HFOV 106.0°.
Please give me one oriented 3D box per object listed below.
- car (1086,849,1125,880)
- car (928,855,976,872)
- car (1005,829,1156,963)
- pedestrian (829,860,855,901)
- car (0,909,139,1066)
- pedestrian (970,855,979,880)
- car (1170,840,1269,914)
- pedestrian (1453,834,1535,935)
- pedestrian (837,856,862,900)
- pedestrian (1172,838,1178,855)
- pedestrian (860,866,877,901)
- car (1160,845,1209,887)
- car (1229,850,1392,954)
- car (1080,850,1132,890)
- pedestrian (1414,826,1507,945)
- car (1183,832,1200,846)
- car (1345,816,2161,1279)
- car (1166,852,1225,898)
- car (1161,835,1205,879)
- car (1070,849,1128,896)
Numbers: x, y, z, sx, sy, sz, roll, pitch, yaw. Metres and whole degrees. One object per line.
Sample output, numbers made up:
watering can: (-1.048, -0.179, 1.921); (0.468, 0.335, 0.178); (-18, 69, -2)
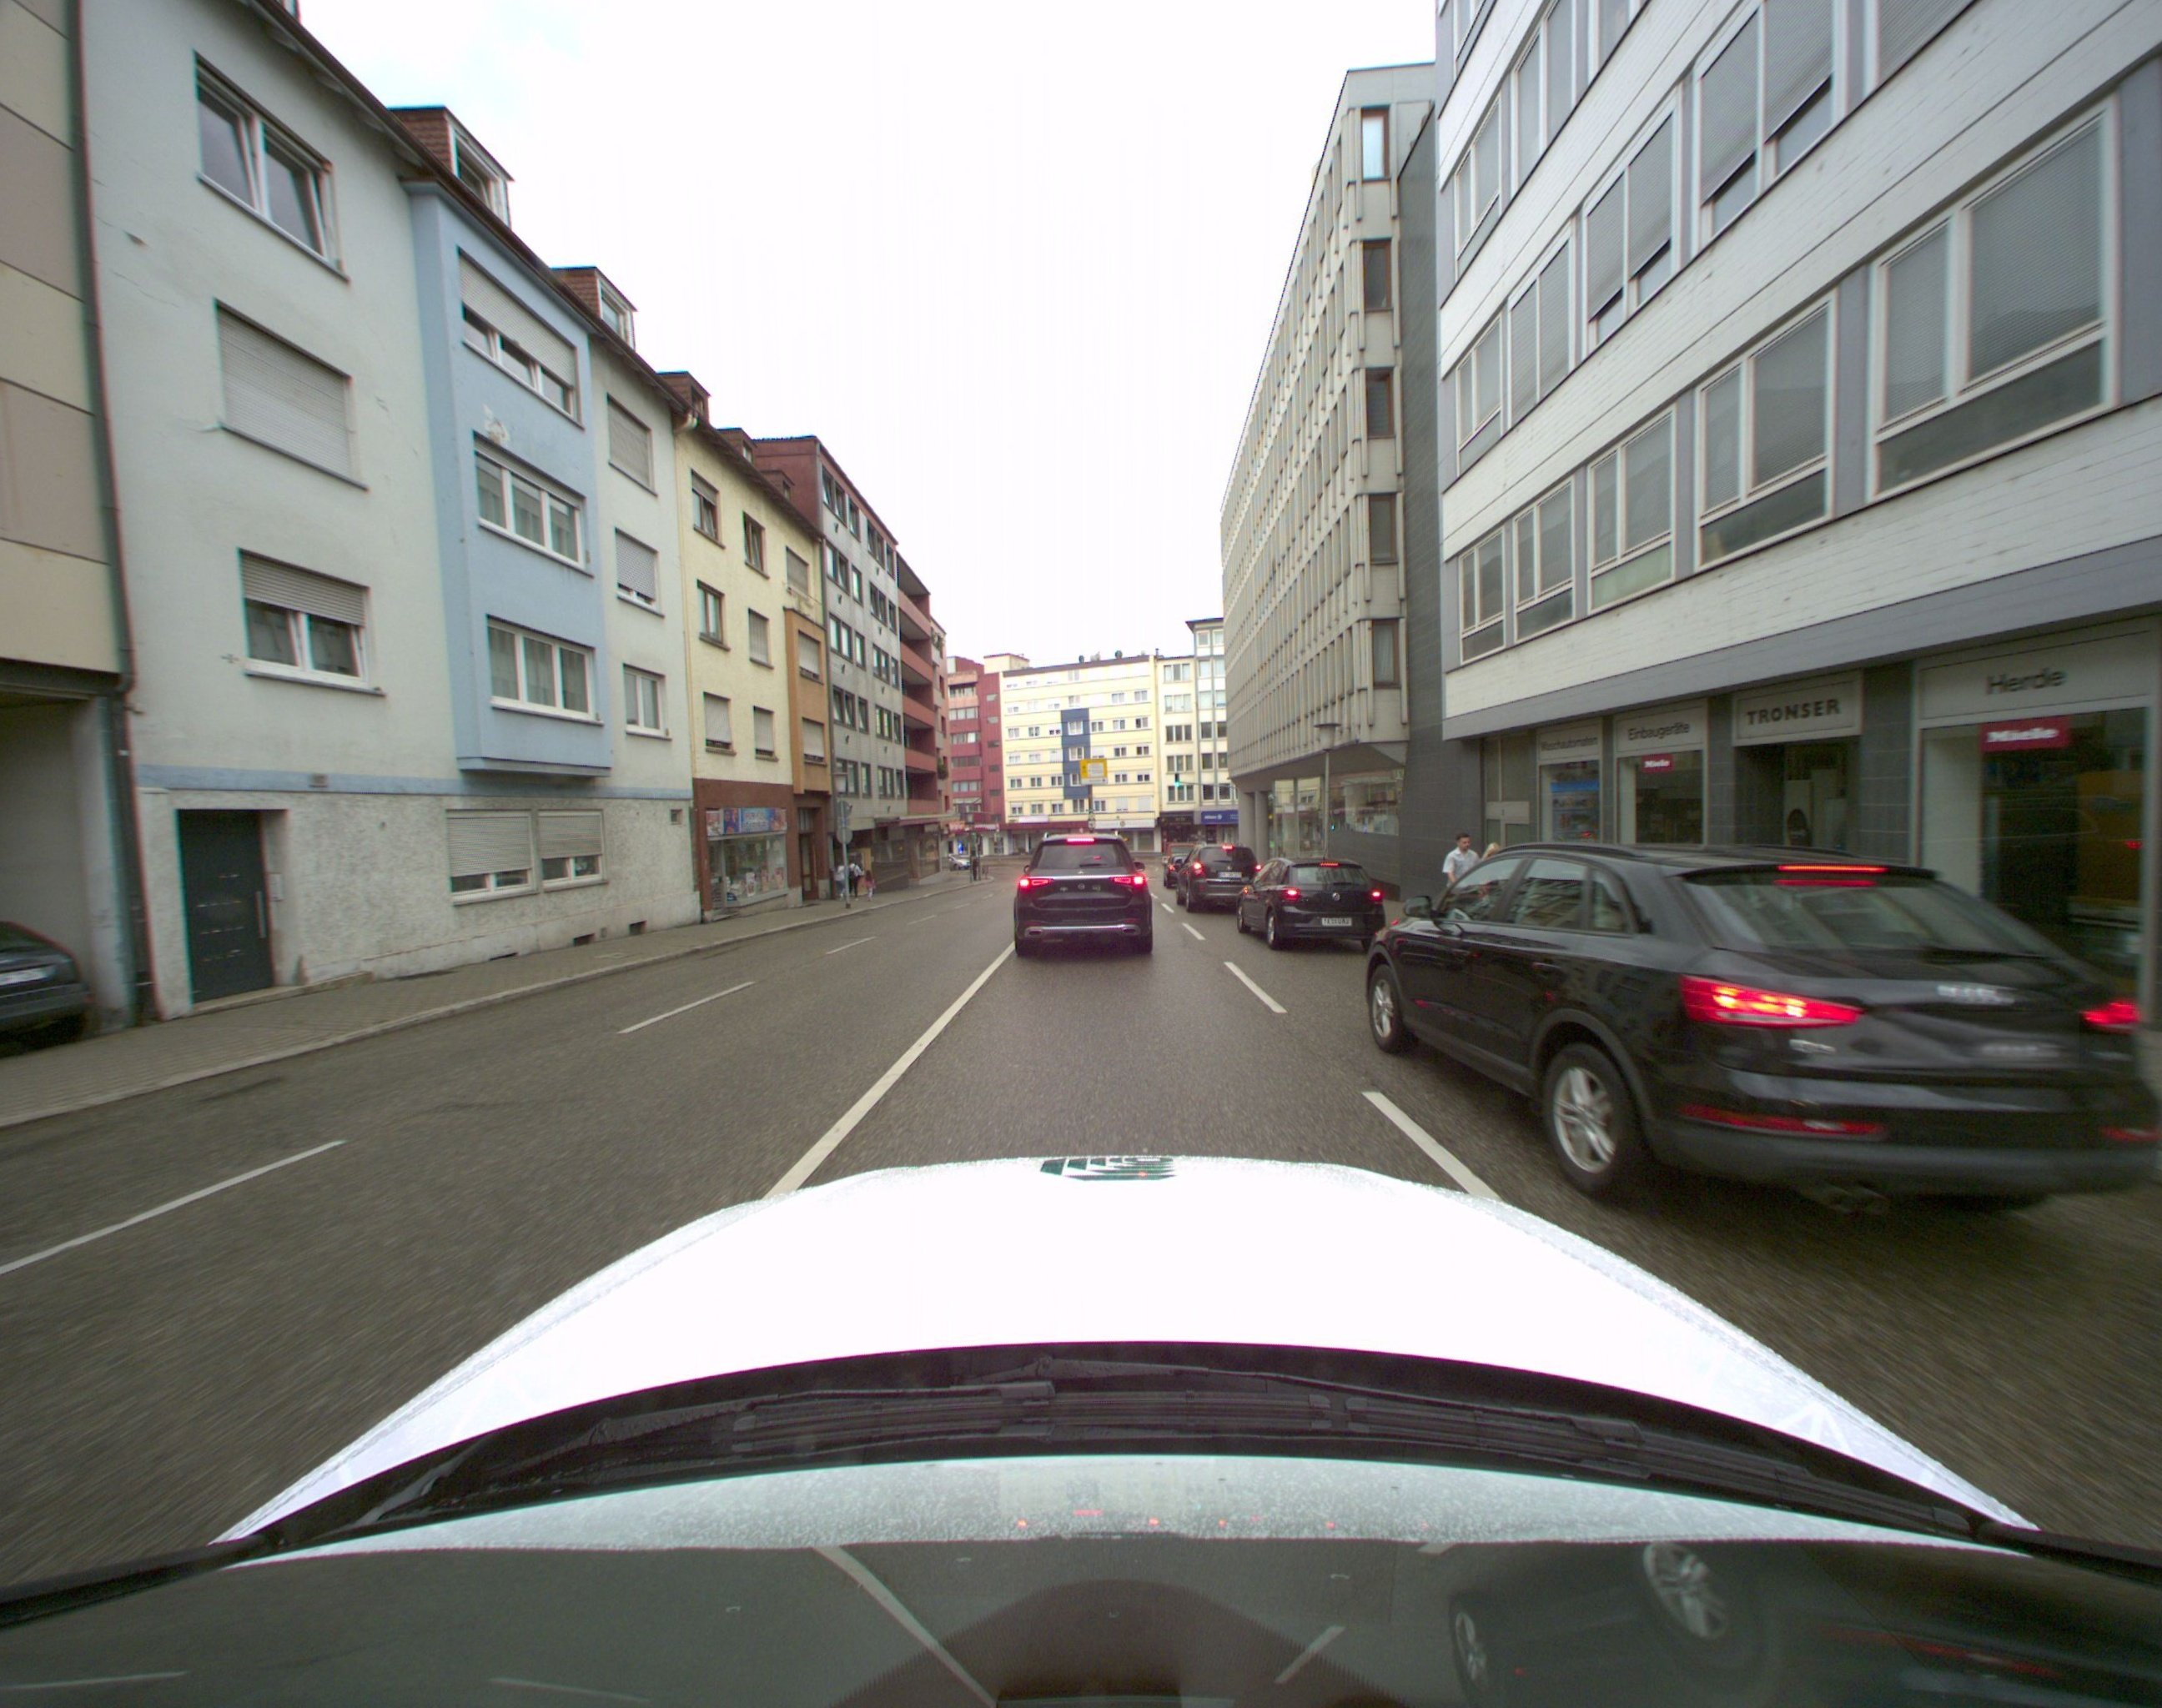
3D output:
car: (1.300, 0.573, 42.203); (1.917, 1.515, 4.664); (0, -1, 2)
car: (-12.421, 0.892, 78.319); (4.129, 1.592, 1.749); (0, 1, 17)
car: (0.025, 0.555, 13.418); (2.032, 1.799, 4.663); (-1, 0, 1)
pedestrian: (-9.049, 0.993, 30.838); (0.826, 1.561, 0.722); (0, 0, -7)
car: (-12.037, 1.575, 7.625); (3.982, 1.349, 1.676); (-9, 3, -6)
pedestrian: (-7.552, 0.939, 57.689); (0.552, 1.697, 0.623); (-2, 0, -2)
car: (3.484, 0.527, 21.333); (1.891, 1.695, 4.506); (1, 0, 1)
pedestrian: (6.779, 0.479, 13.410); (0.763, 1.551, 0.890); (-4, 0, -1)
pedestrian: (-9.079, 0.927, 31.980); (0.826, 1.689, 0.722); (0, 0, -7)
pedestrian: (10.322, -0.821, 89.554); (0.560, 1.688, 0.758); (-2, 6, 8)
pedestrian: (-8.294, 1.141, 31.853); (0.533, 1.323, 0.722); (0, 0, -7)
car: (4.372, 0.512, 34.995); (1.815, 1.658, 4.500); (0, -1, 4)
car: (3.714, 0.694, 13.890); (1.683, 1.477, 4.000); (1, 0, 0)
car: (1.067, 0.614, 34.035); (1.986, 1.486, 4.239); (-2, 0, 2)
pedestrian: (5.843, 0.469, 12.606); (0.781, 1.705, 1.120); (-4, 0, -1)
car: (13.906, -1.922, 102.331); (1.785, 1.670, 4.012); (-2, 0, 11)
car: (3.122, 0.663, 4.886); (1.816, 1.560, 4.203); (1, 0, 2)
car: (4.069, 0.705, 29.375); (1.759, 1.397, 4.004); (4, 1, 4)
car: (5.508, 0.143, 44.297); (2.231, 2.228, 5.438); (-1, 0, 6)
car: (0.609, 0.591, 28.768); (1.867, 1.494, 4.400); (-1, 0, 1)
